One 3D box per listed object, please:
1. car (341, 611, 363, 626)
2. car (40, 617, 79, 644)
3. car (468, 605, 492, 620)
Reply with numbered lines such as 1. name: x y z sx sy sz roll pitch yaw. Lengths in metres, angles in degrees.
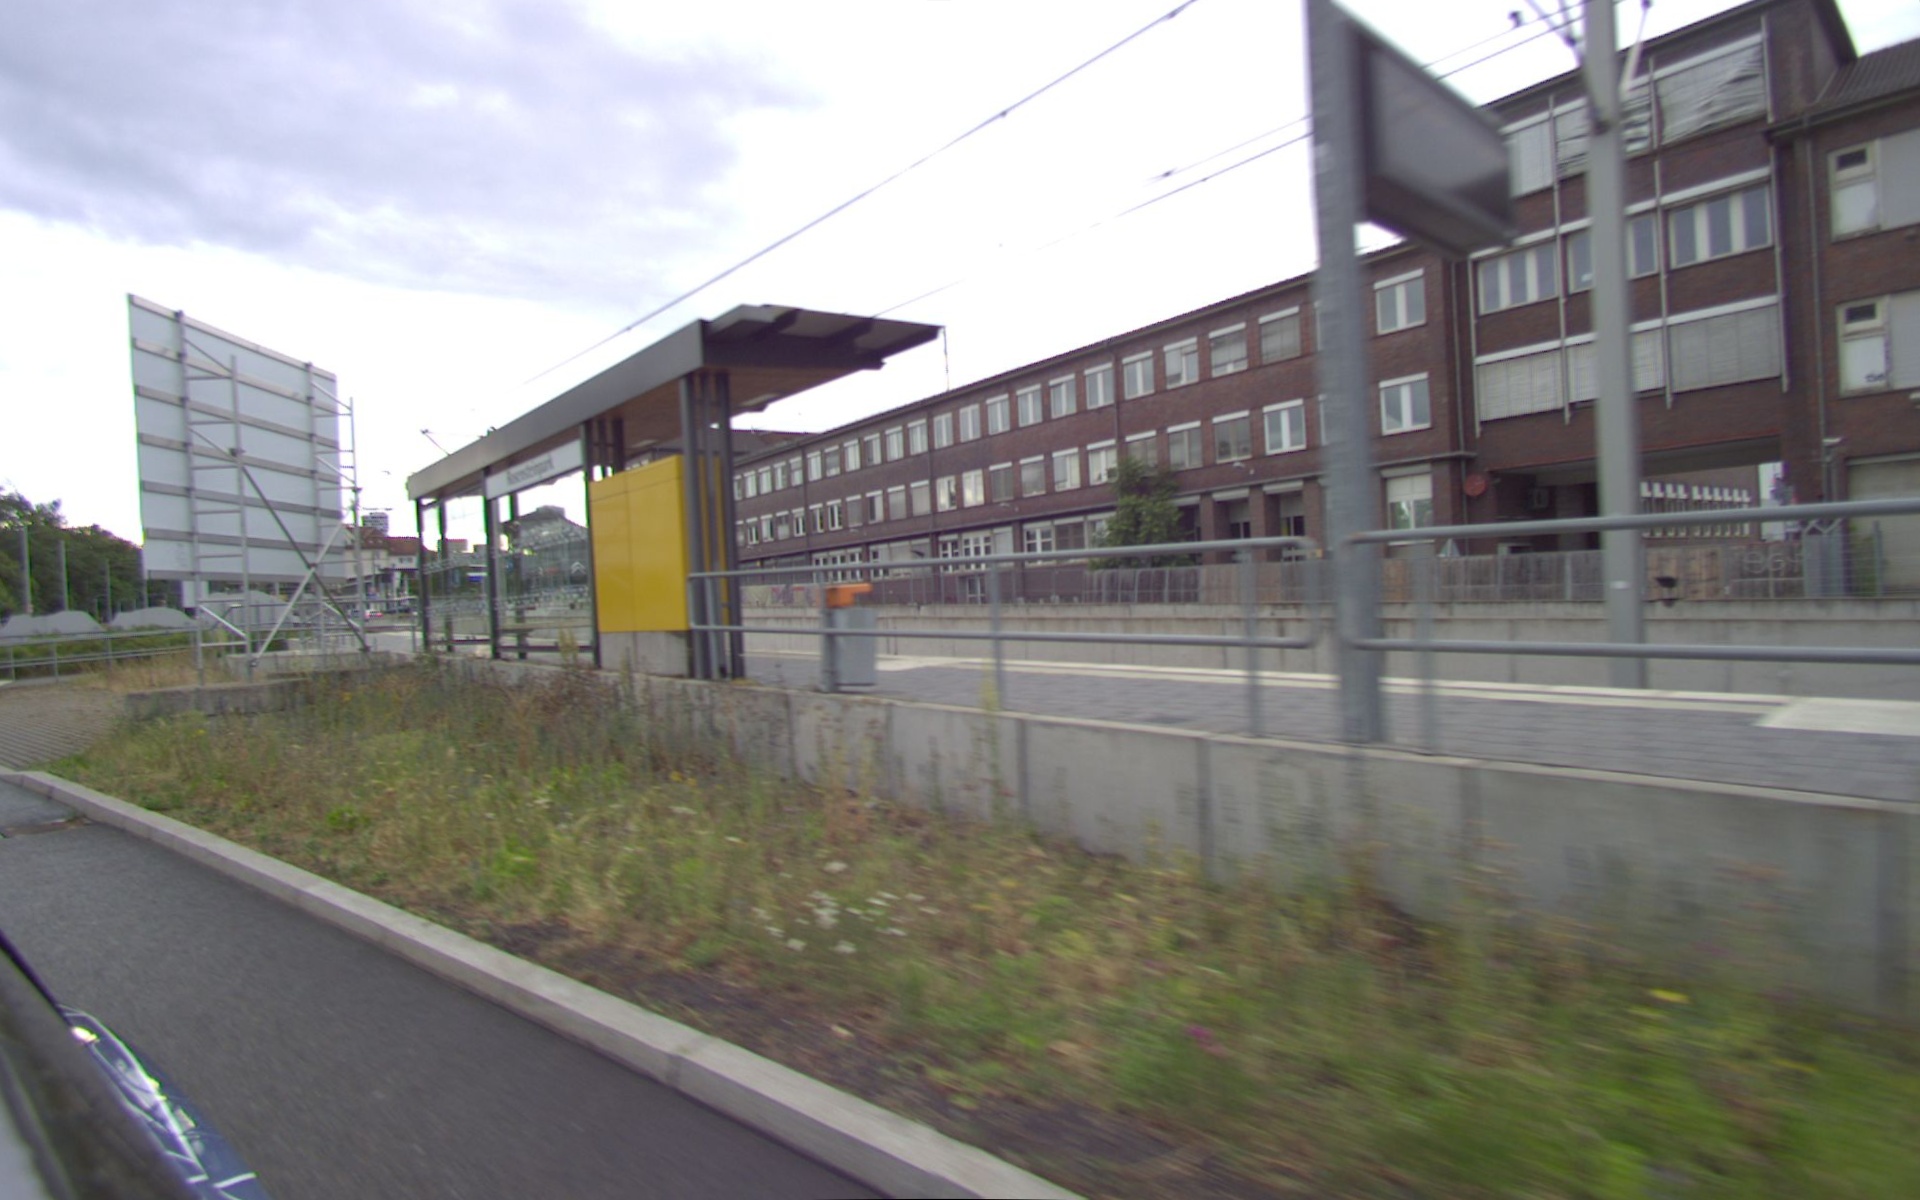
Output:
1. car: -84.352 2.622 140.282 1.969 2.029 4.006 -1 -1 -41
2. car: -71.423 2.424 80.305 1.968 2.029 4.009 -1 -1 -37
3. car: -63.408 1.637 133.675 1.968 1.785 4.007 -2 0 -39
